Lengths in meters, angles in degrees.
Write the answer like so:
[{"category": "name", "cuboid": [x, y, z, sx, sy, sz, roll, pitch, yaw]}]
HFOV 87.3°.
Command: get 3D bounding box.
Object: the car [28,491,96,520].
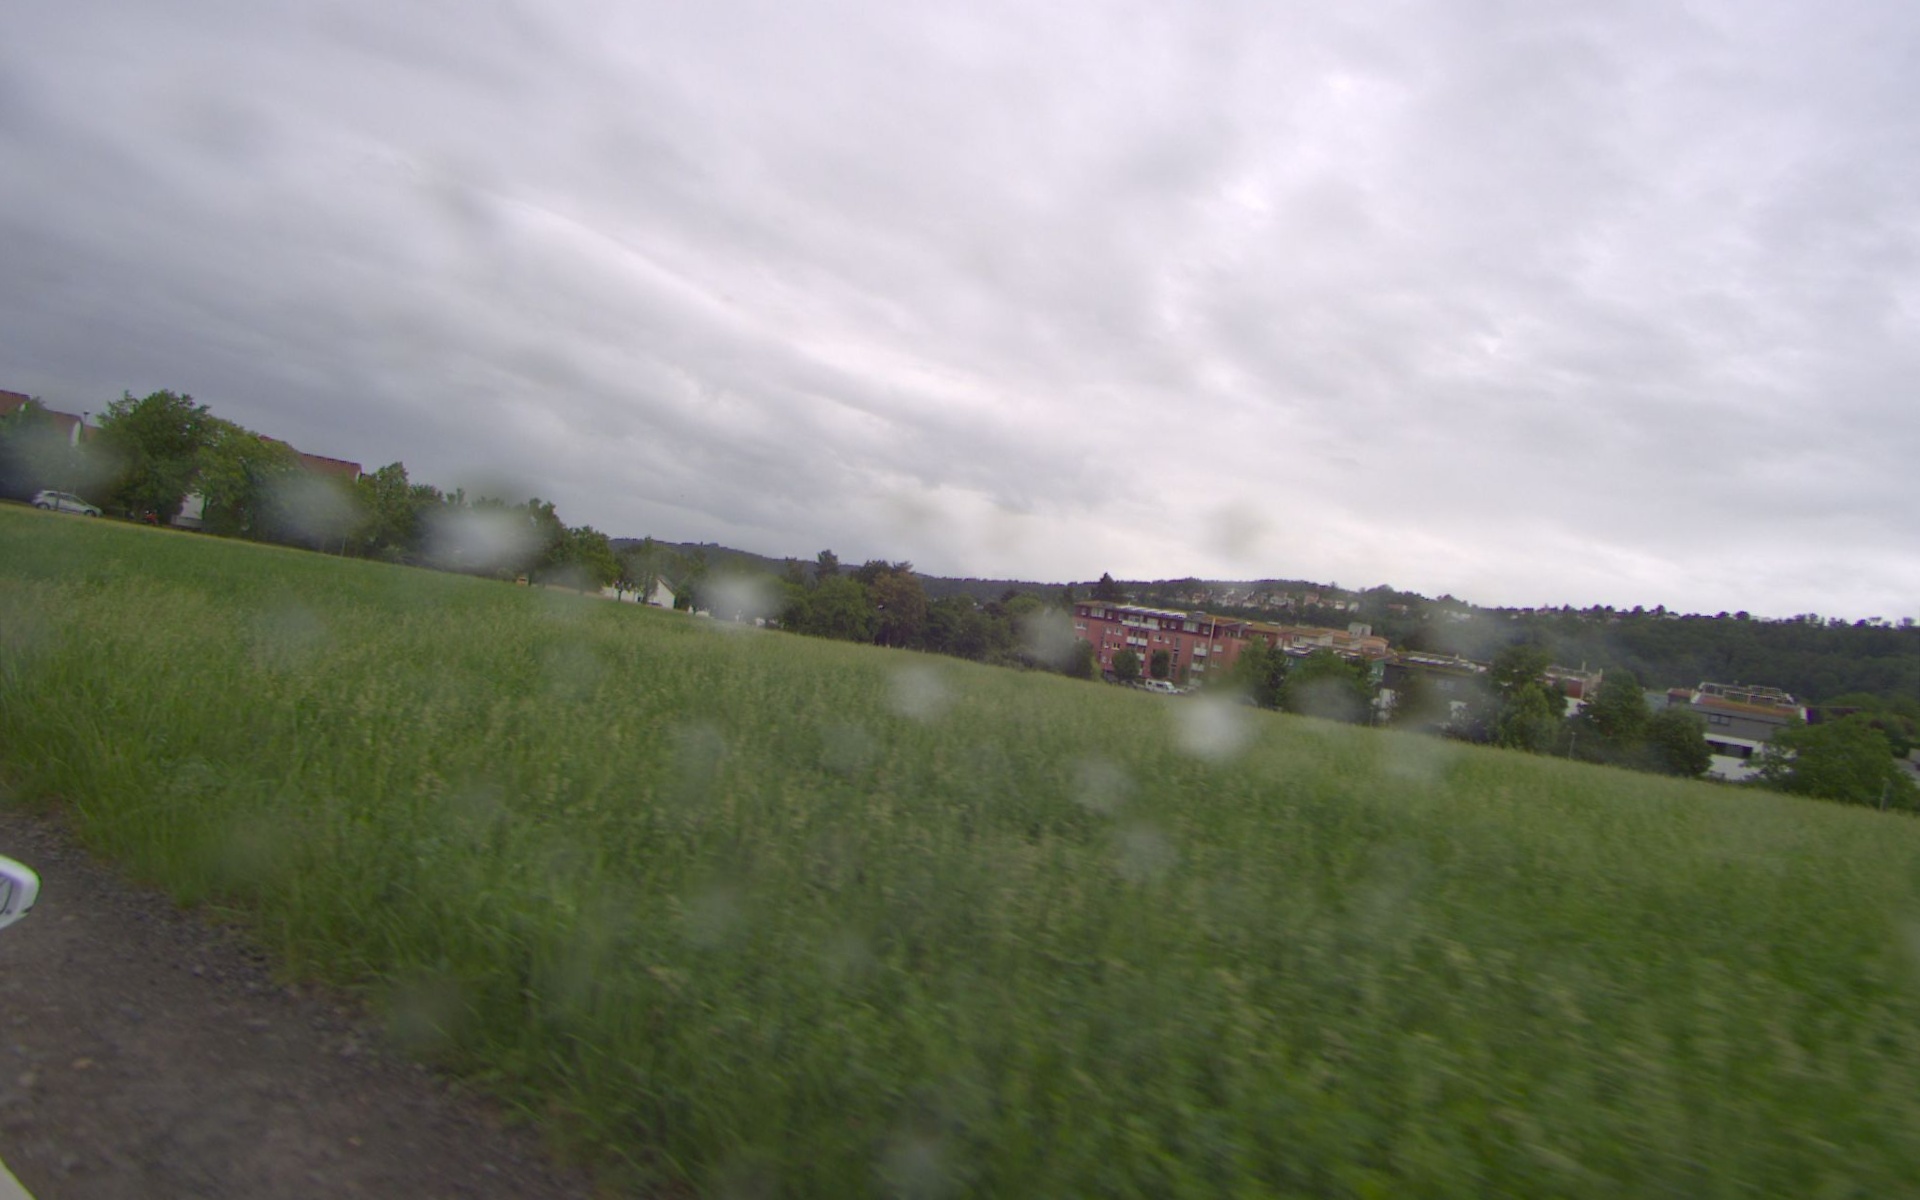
[{"category": "car", "cuboid": [-69.868, -7.334, 78.297, 1.590, 1.581, 3.703, 6, -3, 44]}]
